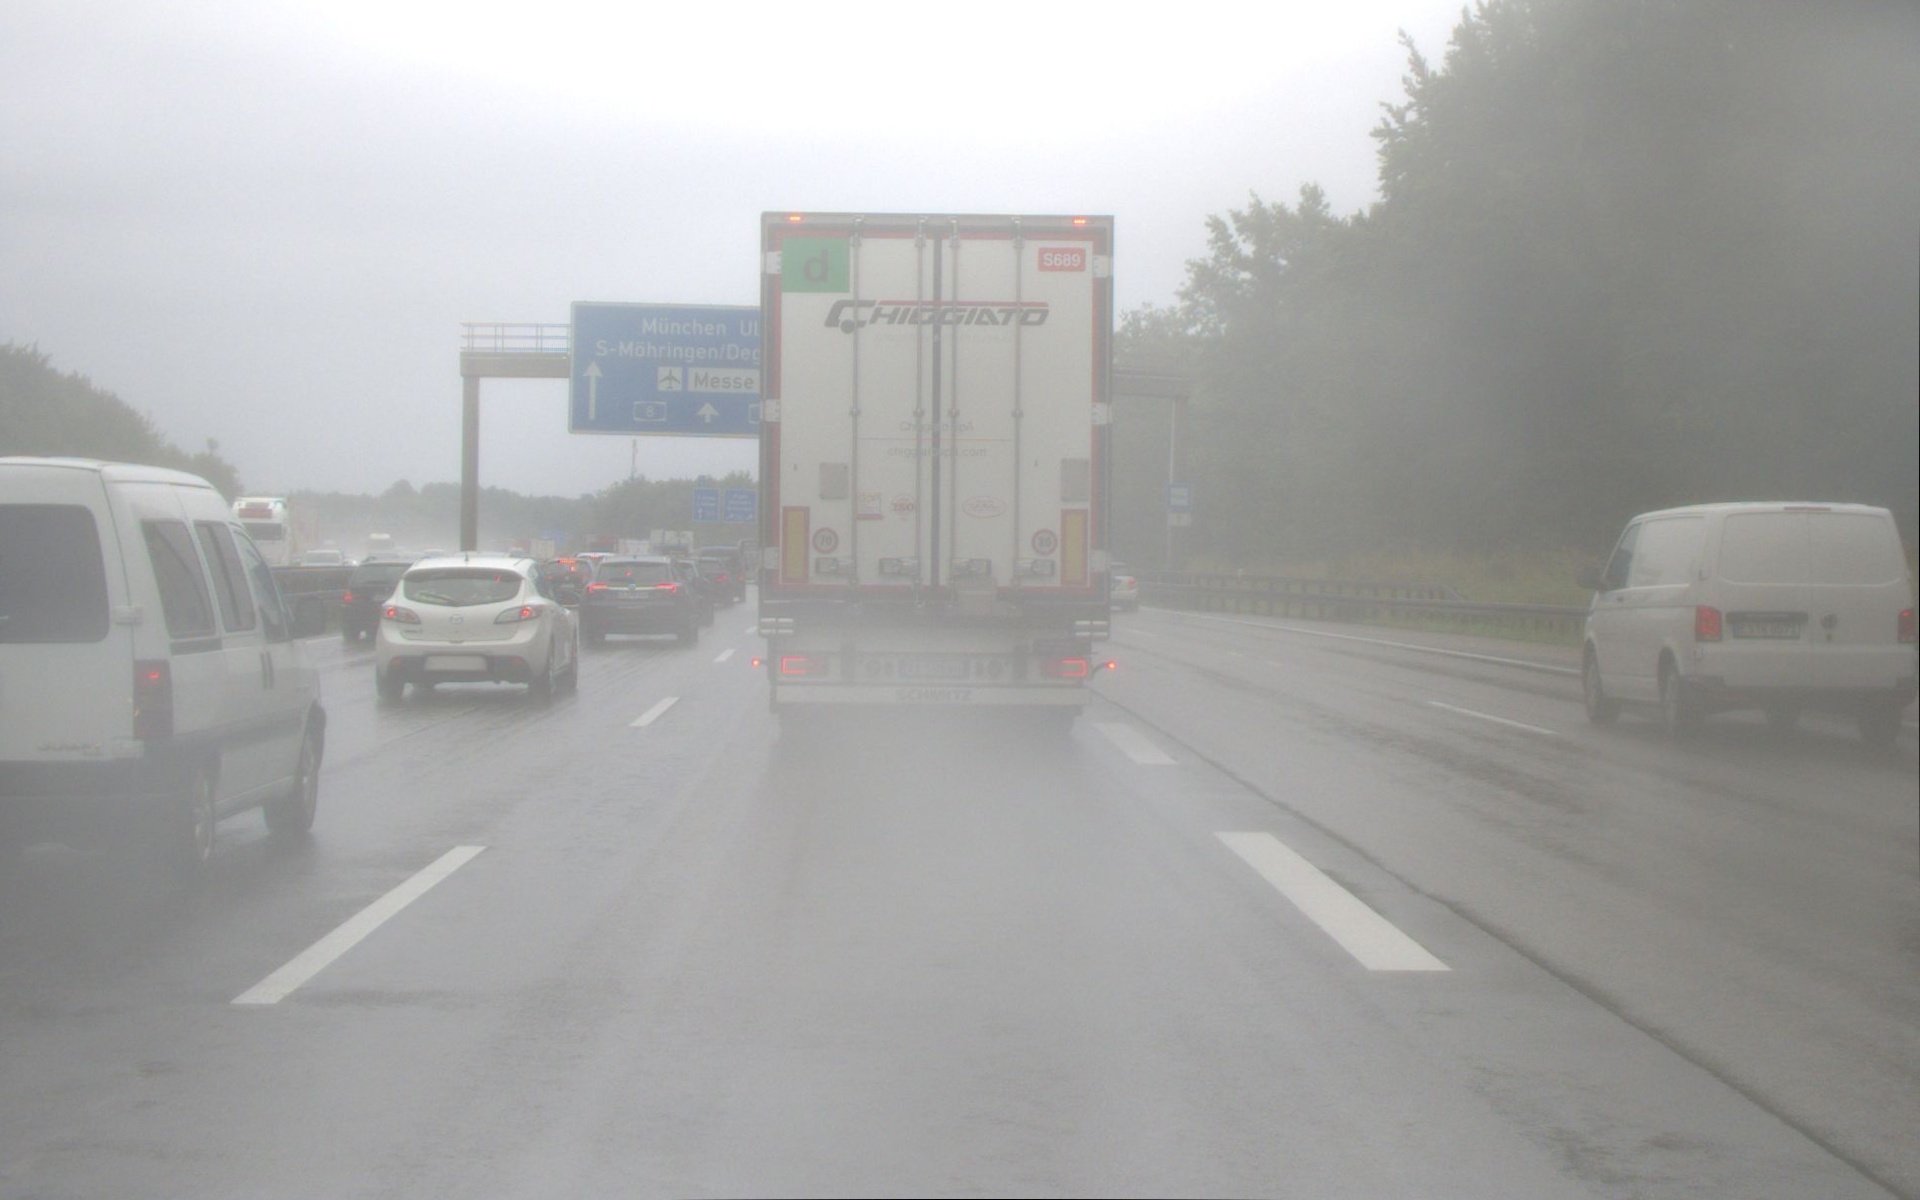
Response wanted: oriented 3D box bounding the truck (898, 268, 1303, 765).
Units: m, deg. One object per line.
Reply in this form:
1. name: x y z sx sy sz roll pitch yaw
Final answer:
1. truck: 1.118 -0.664 30.446 2.872 3.550 11.302 1 1 1

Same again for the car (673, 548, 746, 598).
1. car: -7.053 -0.768 97.133 1.845 1.326 4.467 1 1 -1

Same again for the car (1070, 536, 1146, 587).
1. car: 4.248 -1.129 99.017 1.790 1.402 4.228 1 1 -3

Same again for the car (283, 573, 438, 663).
1. car: -9.720 0.263 56.027 1.845 1.326 4.467 1 1 -1

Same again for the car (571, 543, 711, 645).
1. car: -5.247 -0.131 57.008 1.845 1.586 4.467 1 1 1

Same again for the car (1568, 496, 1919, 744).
1. car: 6.619 0.103 29.257 1.990 1.914 4.767 1 1 0

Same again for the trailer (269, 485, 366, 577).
1. trailer: -29.320 -3.127 157.379 2.540 4.011 13.853 1 1 -3

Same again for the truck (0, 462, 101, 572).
1. truck: -31.269 -2.734 114.924 2.519 3.471 11.721 1 1 -2

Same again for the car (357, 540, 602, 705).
1. car: -4.975 0.185 36.095 1.845 1.586 4.072 1 1 2

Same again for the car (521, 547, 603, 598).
1. car: -10.972 -0.778 94.985 1.845 1.326 4.467 1 1 -1

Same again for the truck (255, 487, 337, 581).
1. truck: -29.008 -2.875 150.387 2.540 4.011 6.325 1 1 -2

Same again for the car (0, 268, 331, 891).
1. car: -4.440 -0.147 16.634 2.212 2.564 5.016 1 1 -4
